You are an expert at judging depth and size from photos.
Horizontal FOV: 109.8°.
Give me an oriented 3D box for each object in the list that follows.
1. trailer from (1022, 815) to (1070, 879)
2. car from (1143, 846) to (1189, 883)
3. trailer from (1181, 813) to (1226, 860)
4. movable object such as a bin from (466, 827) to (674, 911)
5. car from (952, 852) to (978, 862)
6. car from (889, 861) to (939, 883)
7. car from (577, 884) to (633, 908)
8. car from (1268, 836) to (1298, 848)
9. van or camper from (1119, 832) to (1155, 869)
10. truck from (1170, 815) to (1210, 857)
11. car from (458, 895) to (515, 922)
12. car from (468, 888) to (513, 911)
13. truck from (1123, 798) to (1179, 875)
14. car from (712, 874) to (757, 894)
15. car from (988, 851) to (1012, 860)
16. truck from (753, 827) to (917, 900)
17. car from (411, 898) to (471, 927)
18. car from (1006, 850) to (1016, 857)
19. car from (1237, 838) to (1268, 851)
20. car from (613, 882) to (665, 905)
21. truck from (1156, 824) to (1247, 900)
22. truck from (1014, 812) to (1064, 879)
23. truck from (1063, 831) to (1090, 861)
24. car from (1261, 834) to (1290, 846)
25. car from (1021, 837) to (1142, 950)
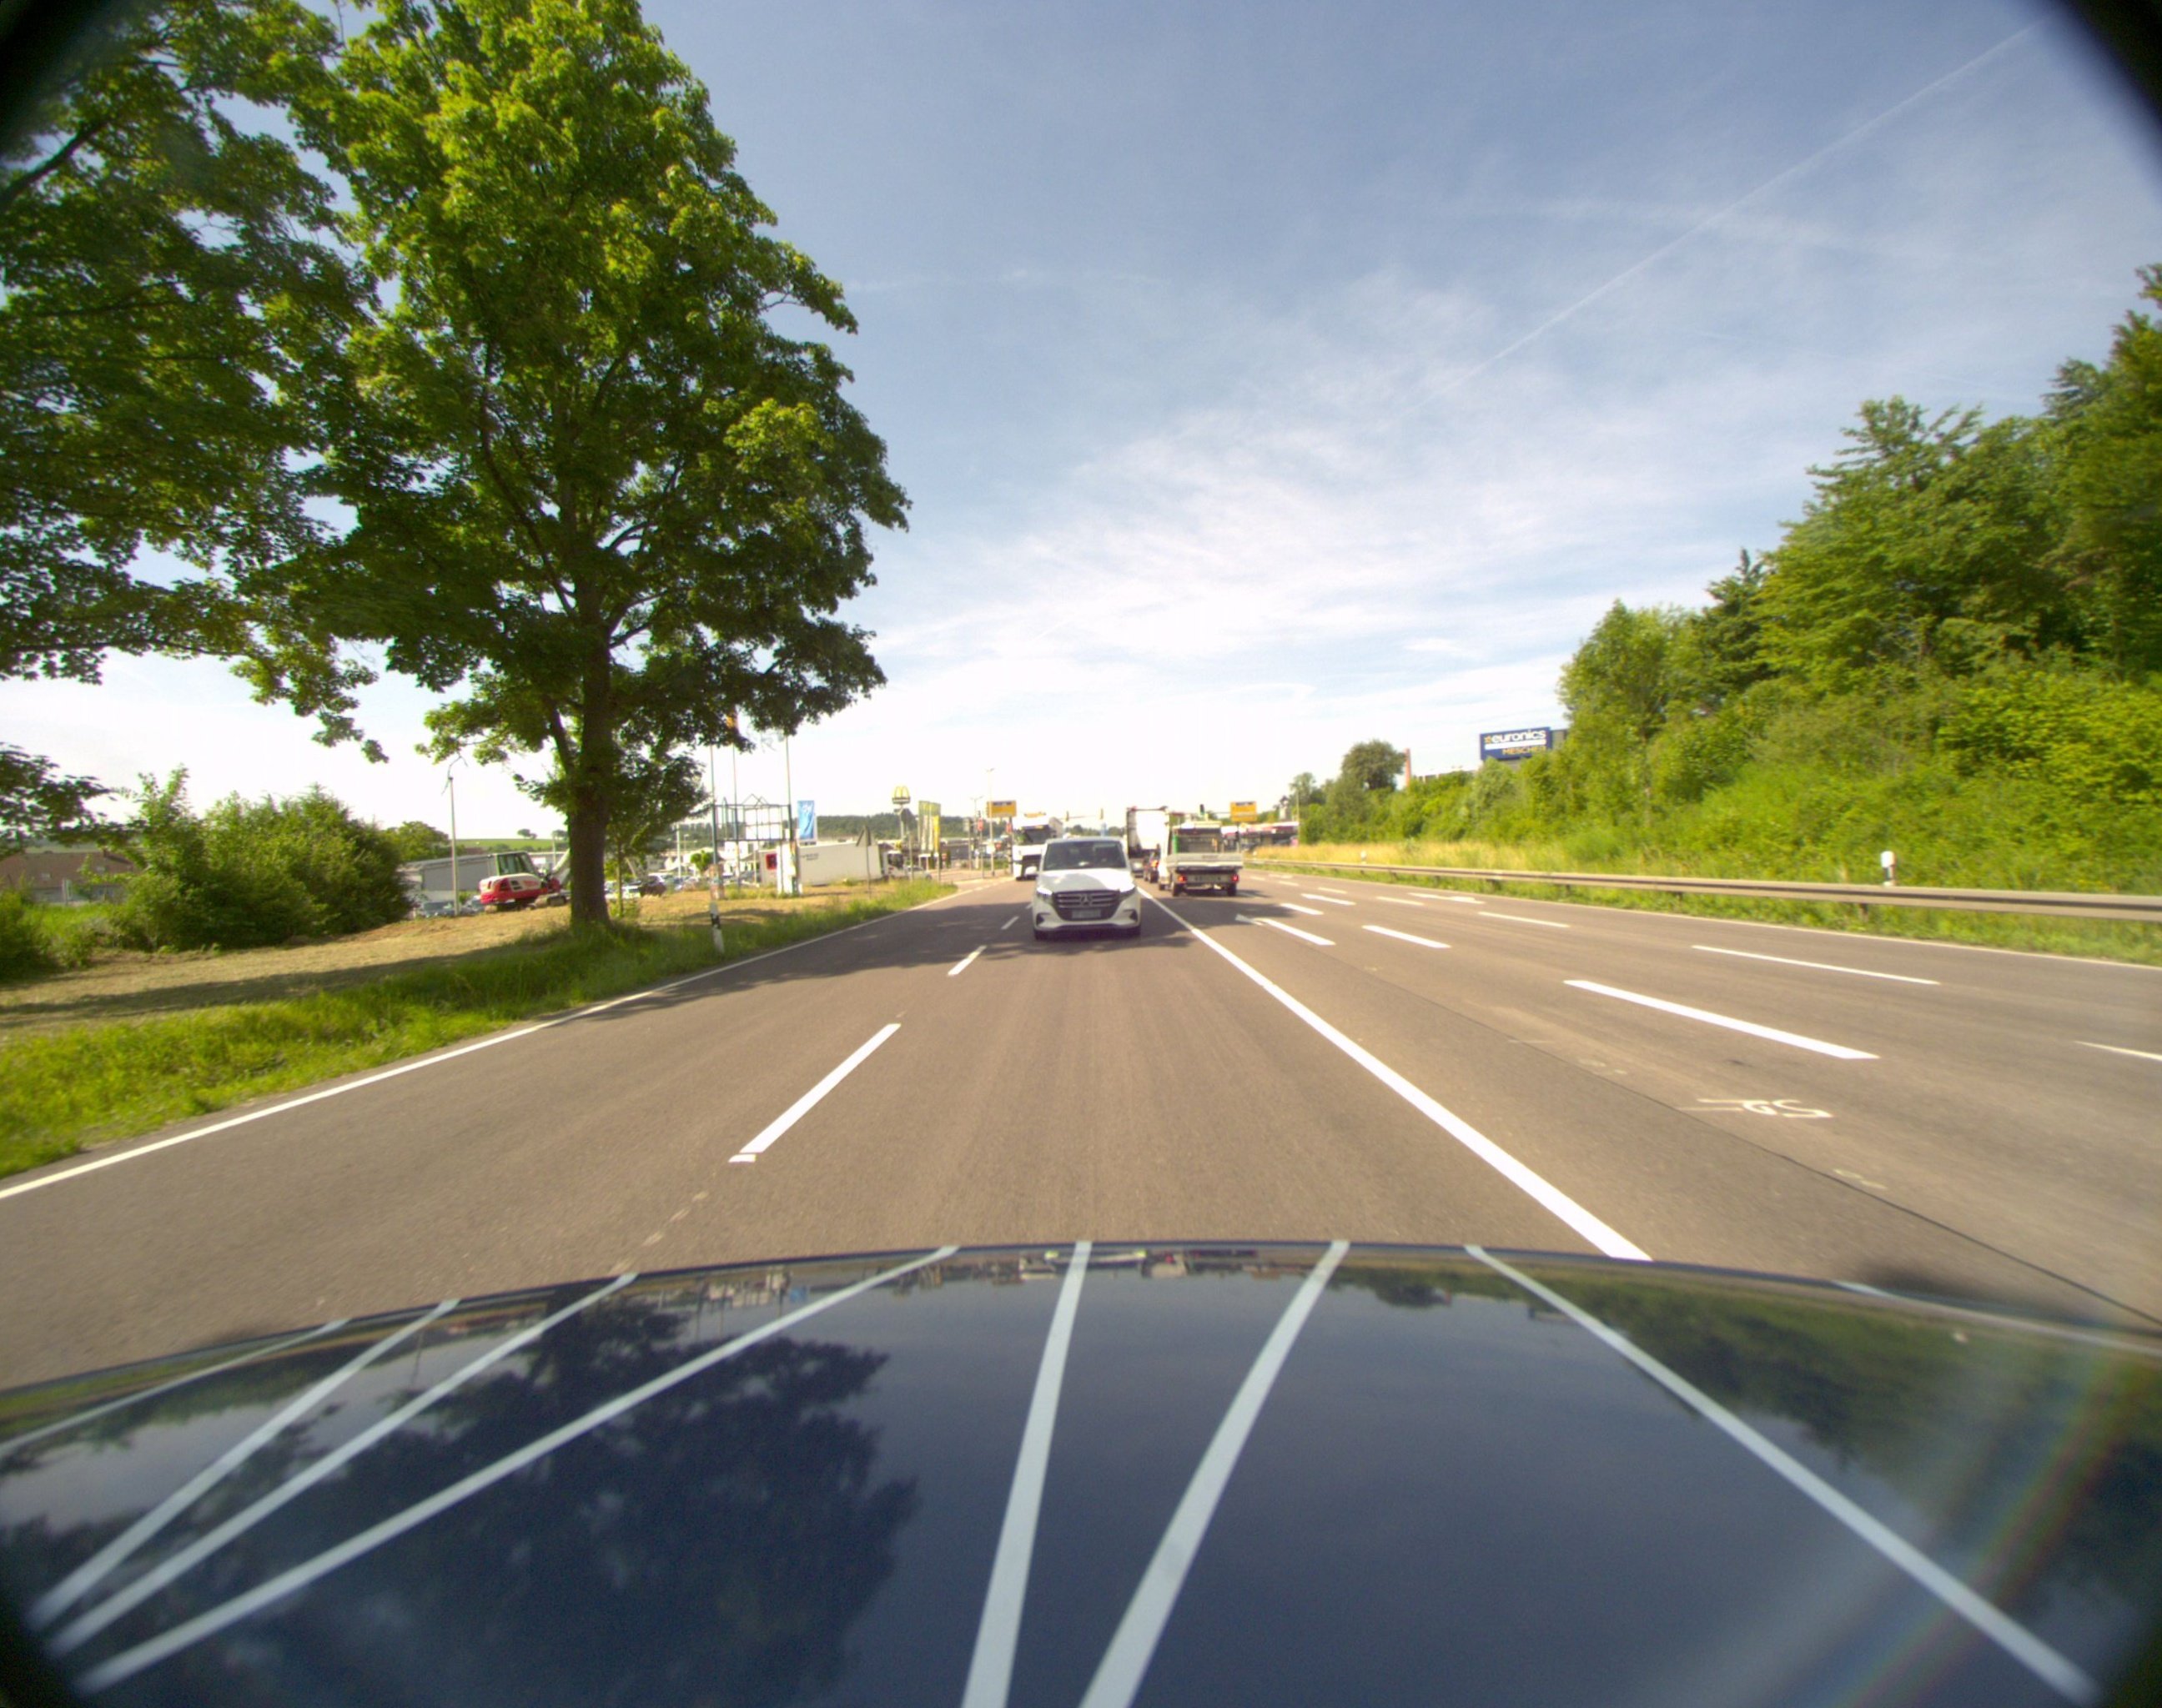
[{"bbox_3d":[-2.393,-0.546,55.652,2.613,4.203,11.291,-1,1,1],"label":"trailer"},{"bbox_3d":[3.920,0.445,35.429,1.715,1.542,4.108,-1,1,1],"label":"car"},{"bbox_3d":[11.432,-1.619,71.720,2.847,4.046,8.754,-1,1,0],"label":"trailer"},{"bbox_3d":[-21.596,0.509,32.493,2.893,3.189,6.718,0,1,38],"label":"movable object such as a bin"},{"bbox_3d":[-19.471,0.494,127.728,1.771,1.661,4.178,0,1,38],"label":"car"},{"bbox_3d":[-14.135,1.546,64.393,1.706,1.496,3.761,-3,3,41],"label":"car"},{"bbox_3d":[-37.183,3.274,59.276,4.461,1.609,2.096,-1,1,35],"label":"car"},{"bbox_3d":[30.764,-1.866,115.382,4.982,1.411,1.944,-6,4,-42],"label":"car"},{"bbox_3d":[4.185,-0.294,57.583,2.336,2.585,6.978,-1,1,1],"label":"van or camper"},{"bbox_3d":[11.437,-1.851,80.858,2.837,4.093,9.680,-1,1,0],"label":"truck"},{"bbox_3d":[-41.786,3.793,53.395,3.988,1.609,2.096,-1,1,35],"label":"car"},{"bbox_3d":[-49.230,3.748,63.291,4.070,1.609,2.013,0,1,38],"label":"car"},{"bbox_3d":[3.930,-0.994,43.926,2.543,4.064,6.264,-1,1,0],"label":"truck"},{"bbox_3d":[-30.501,2.631,66.930,3.988,1.565,2.004,0,1,39],"label":"car"},{"bbox_3d":[-15.224,0.252,142.718,4.007,1.661,1.916,-2,1,-34],"label":"car"},{"bbox_3d":[-16.054,0.534,50.261,9.705,3.608,2.763,-7,3,-15],"label":"truck"},{"bbox_3d":[-43.359,3.934,51.451,4.070,1.609,2.108,-1,1,35],"label":"car"},{"bbox_3d":[-15.657,-0.119,170.262,1.907,1.645,4.709,-1,1,-1],"label":"car"},{"bbox_3d":[24.899,-1.348,110.112,4.644,1.519,1.910,-6,2,-42],"label":"car"},{"bbox_3d":[-35.652,3.123,61.267,4.466,1.609,2.004,0,1,37],"label":"car"},{"bbox_3d":[3.964,0.183,26.249,2.232,2.255,6.499,-1,1,1],"label":"truck"},{"bbox_3d":[-2.616,-0.554,49.056,2.647,3.964,6.041,-1,1,1],"label":"truck"},{"bbox_3d":[-0.499,-1.169,107.126,2.646,3.964,9.242,-1,1,7],"label":"truck"},{"bbox_3d":[29.458,-2.091,115.112,4.517,1.554,1.994,-5,3,-40],"label":"car"},{"bbox_3d":[0.140,0.621,15.608,1.993,1.858,5.803,-1,1,3],"label":"car"}]
